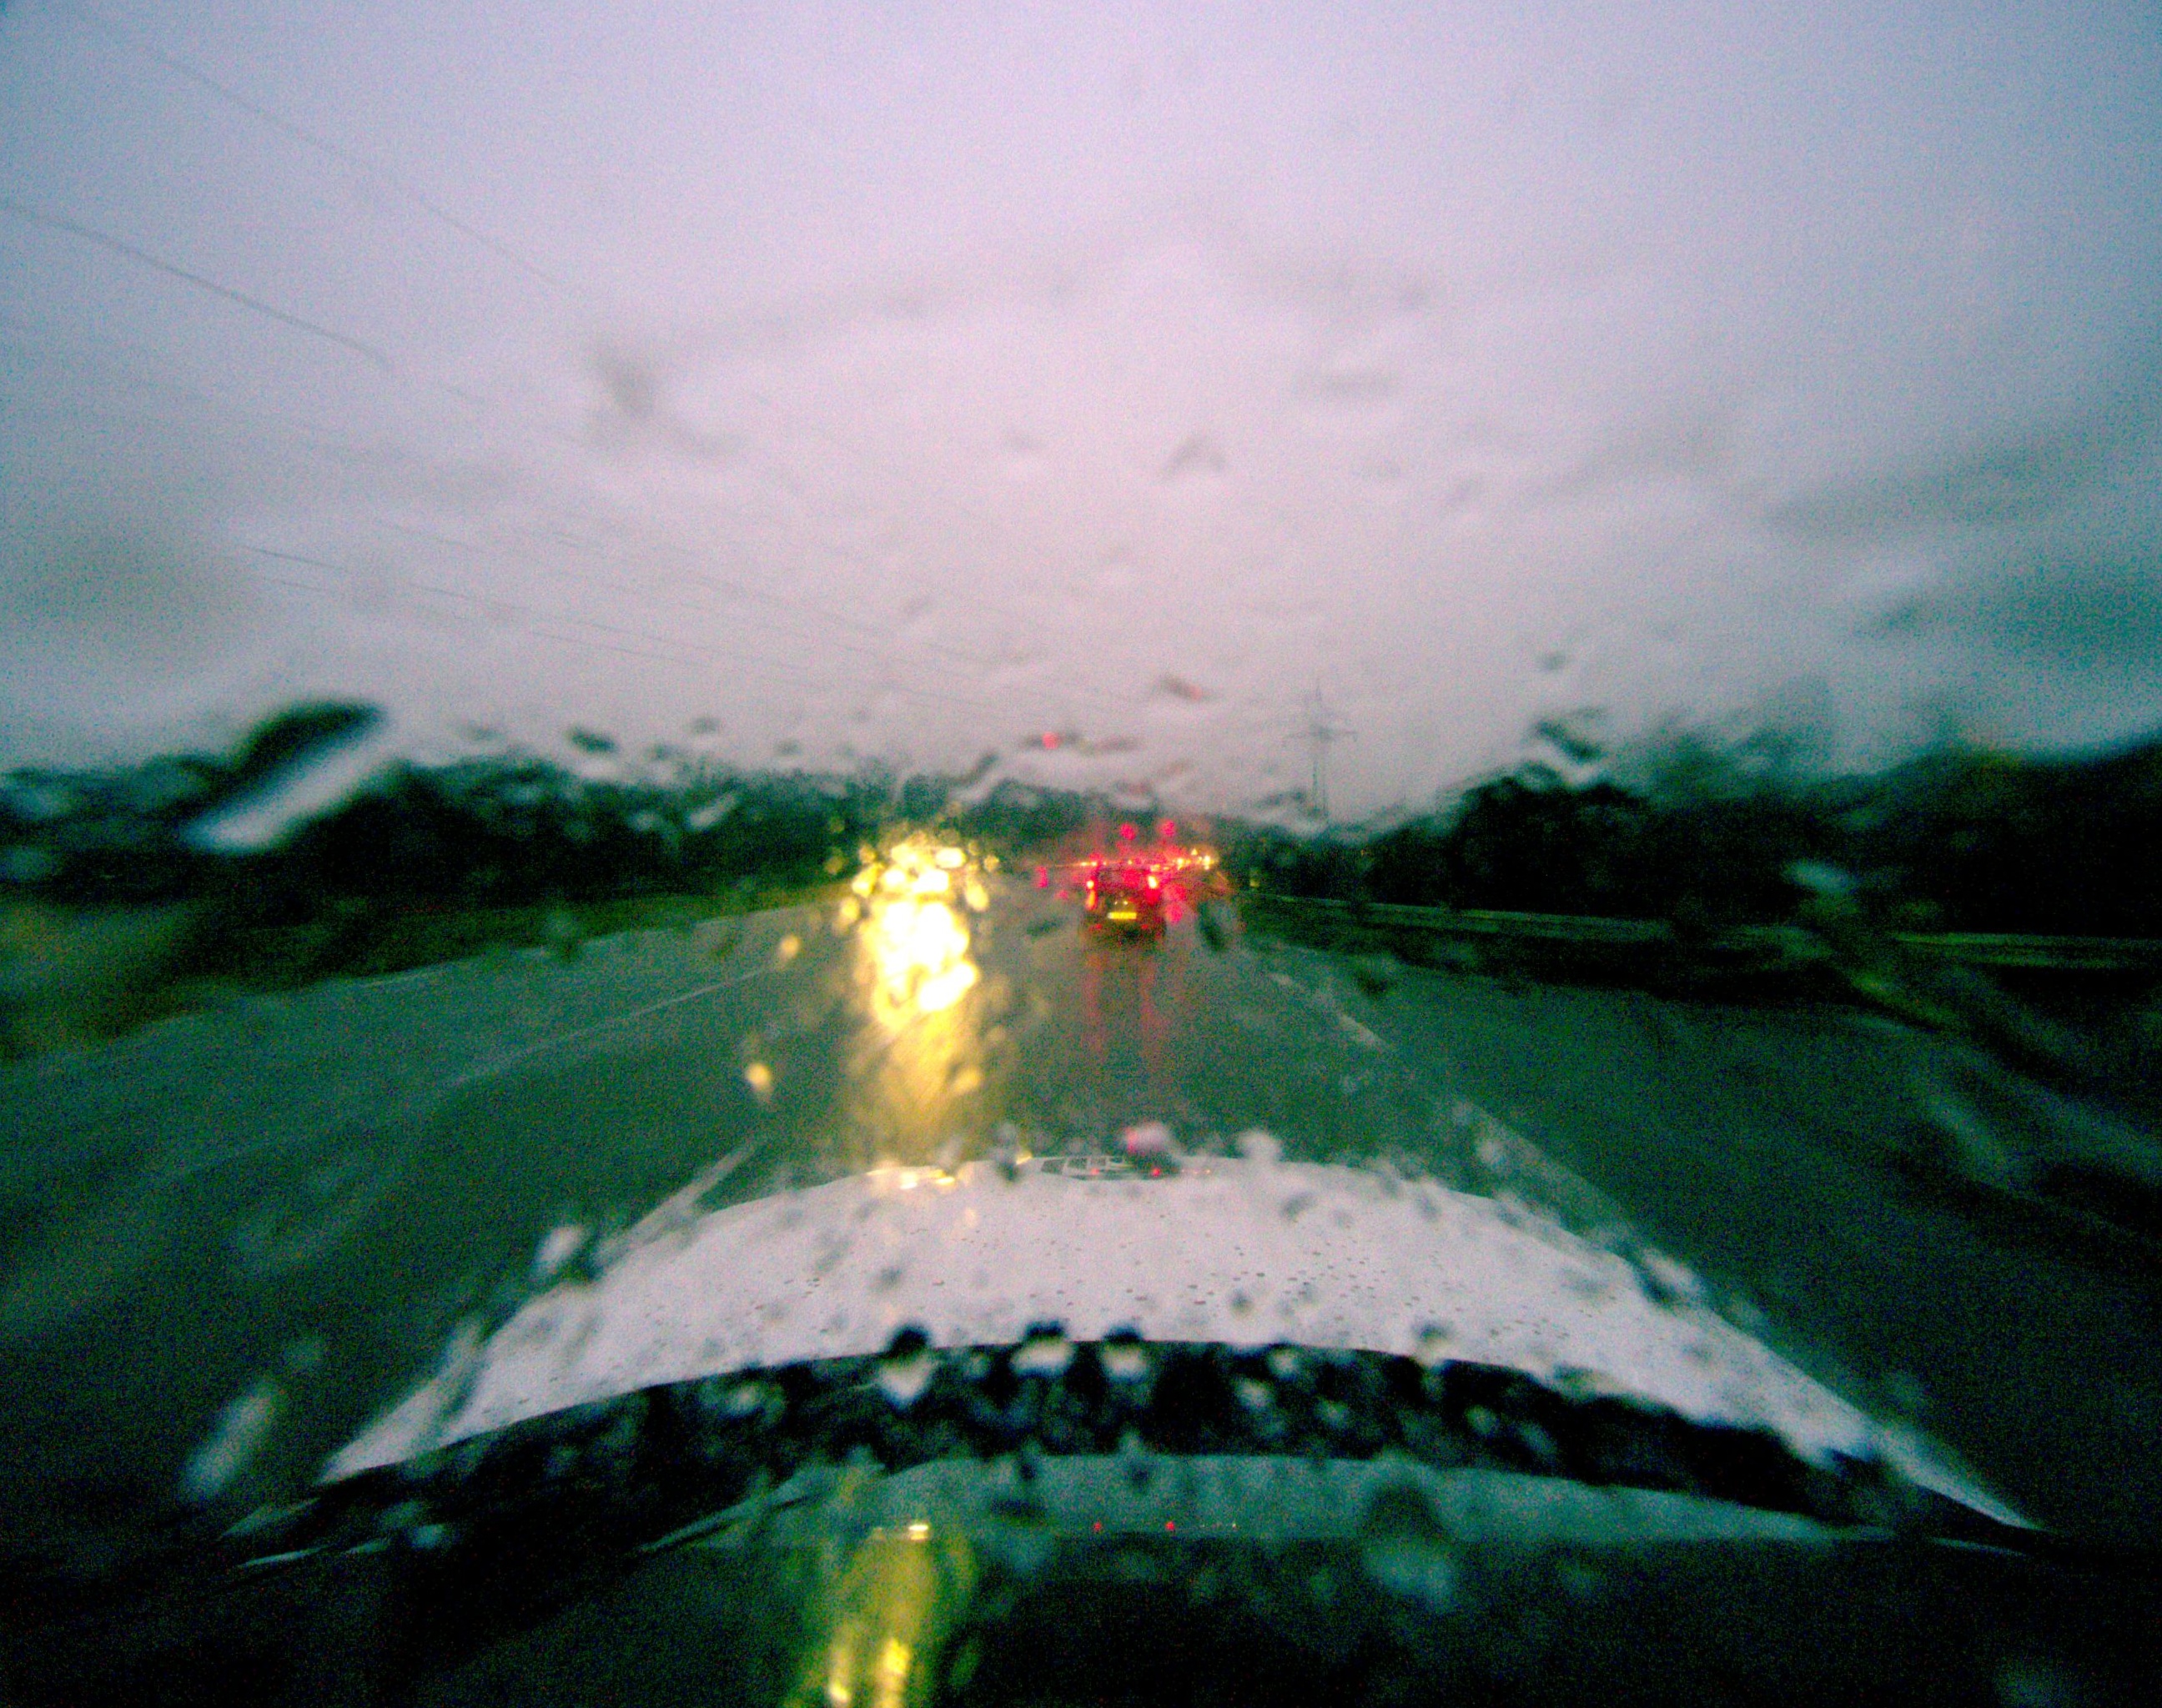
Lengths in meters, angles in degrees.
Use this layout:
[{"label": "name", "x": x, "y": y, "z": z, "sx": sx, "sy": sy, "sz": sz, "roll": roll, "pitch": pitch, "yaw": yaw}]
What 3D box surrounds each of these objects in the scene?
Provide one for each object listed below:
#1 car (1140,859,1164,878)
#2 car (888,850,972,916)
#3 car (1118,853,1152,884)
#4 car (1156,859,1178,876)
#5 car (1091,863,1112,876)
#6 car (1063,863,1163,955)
[{"label": "car", "x": 6.572, "y": 1.305, "z": 74.676, "sx": 1.935, "sy": 1.745, "sz": 4.010, "roll": 0, "pitch": 0, "yaw": 9}, {"label": "car", "x": -5.481, "y": 0.998, "z": 30.291, "sx": 1.864, "sy": 2.137, "sz": 5.183, "roll": -3, "pitch": 0, "yaw": 2}, {"label": "car", "x": 3.661, "y": 0.954, "z": 54.399, "sx": 1.935, "sy": 2.014, "sz": 4.010, "roll": 0, "pitch": 0, "yaw": 9}, {"label": "car", "x": 9.697, "y": 1.468, "z": 92.085, "sx": 1.933, "sy": 1.744, "sz": 4.014, "roll": 2, "pitch": 0, "yaw": 13}, {"label": "car", "x": 2.293, "y": 1.757, "z": 91.557, "sx": 1.585, "sy": 1.244, "sz": 4.013, "roll": 3, "pitch": 1, "yaw": 12}, {"label": "car", "x": 0.656, "y": 1.003, "z": 16.649, "sx": 1.723, "sy": 1.532, "sz": 4.044, "roll": -3, "pitch": 0, "yaw": 2}]
